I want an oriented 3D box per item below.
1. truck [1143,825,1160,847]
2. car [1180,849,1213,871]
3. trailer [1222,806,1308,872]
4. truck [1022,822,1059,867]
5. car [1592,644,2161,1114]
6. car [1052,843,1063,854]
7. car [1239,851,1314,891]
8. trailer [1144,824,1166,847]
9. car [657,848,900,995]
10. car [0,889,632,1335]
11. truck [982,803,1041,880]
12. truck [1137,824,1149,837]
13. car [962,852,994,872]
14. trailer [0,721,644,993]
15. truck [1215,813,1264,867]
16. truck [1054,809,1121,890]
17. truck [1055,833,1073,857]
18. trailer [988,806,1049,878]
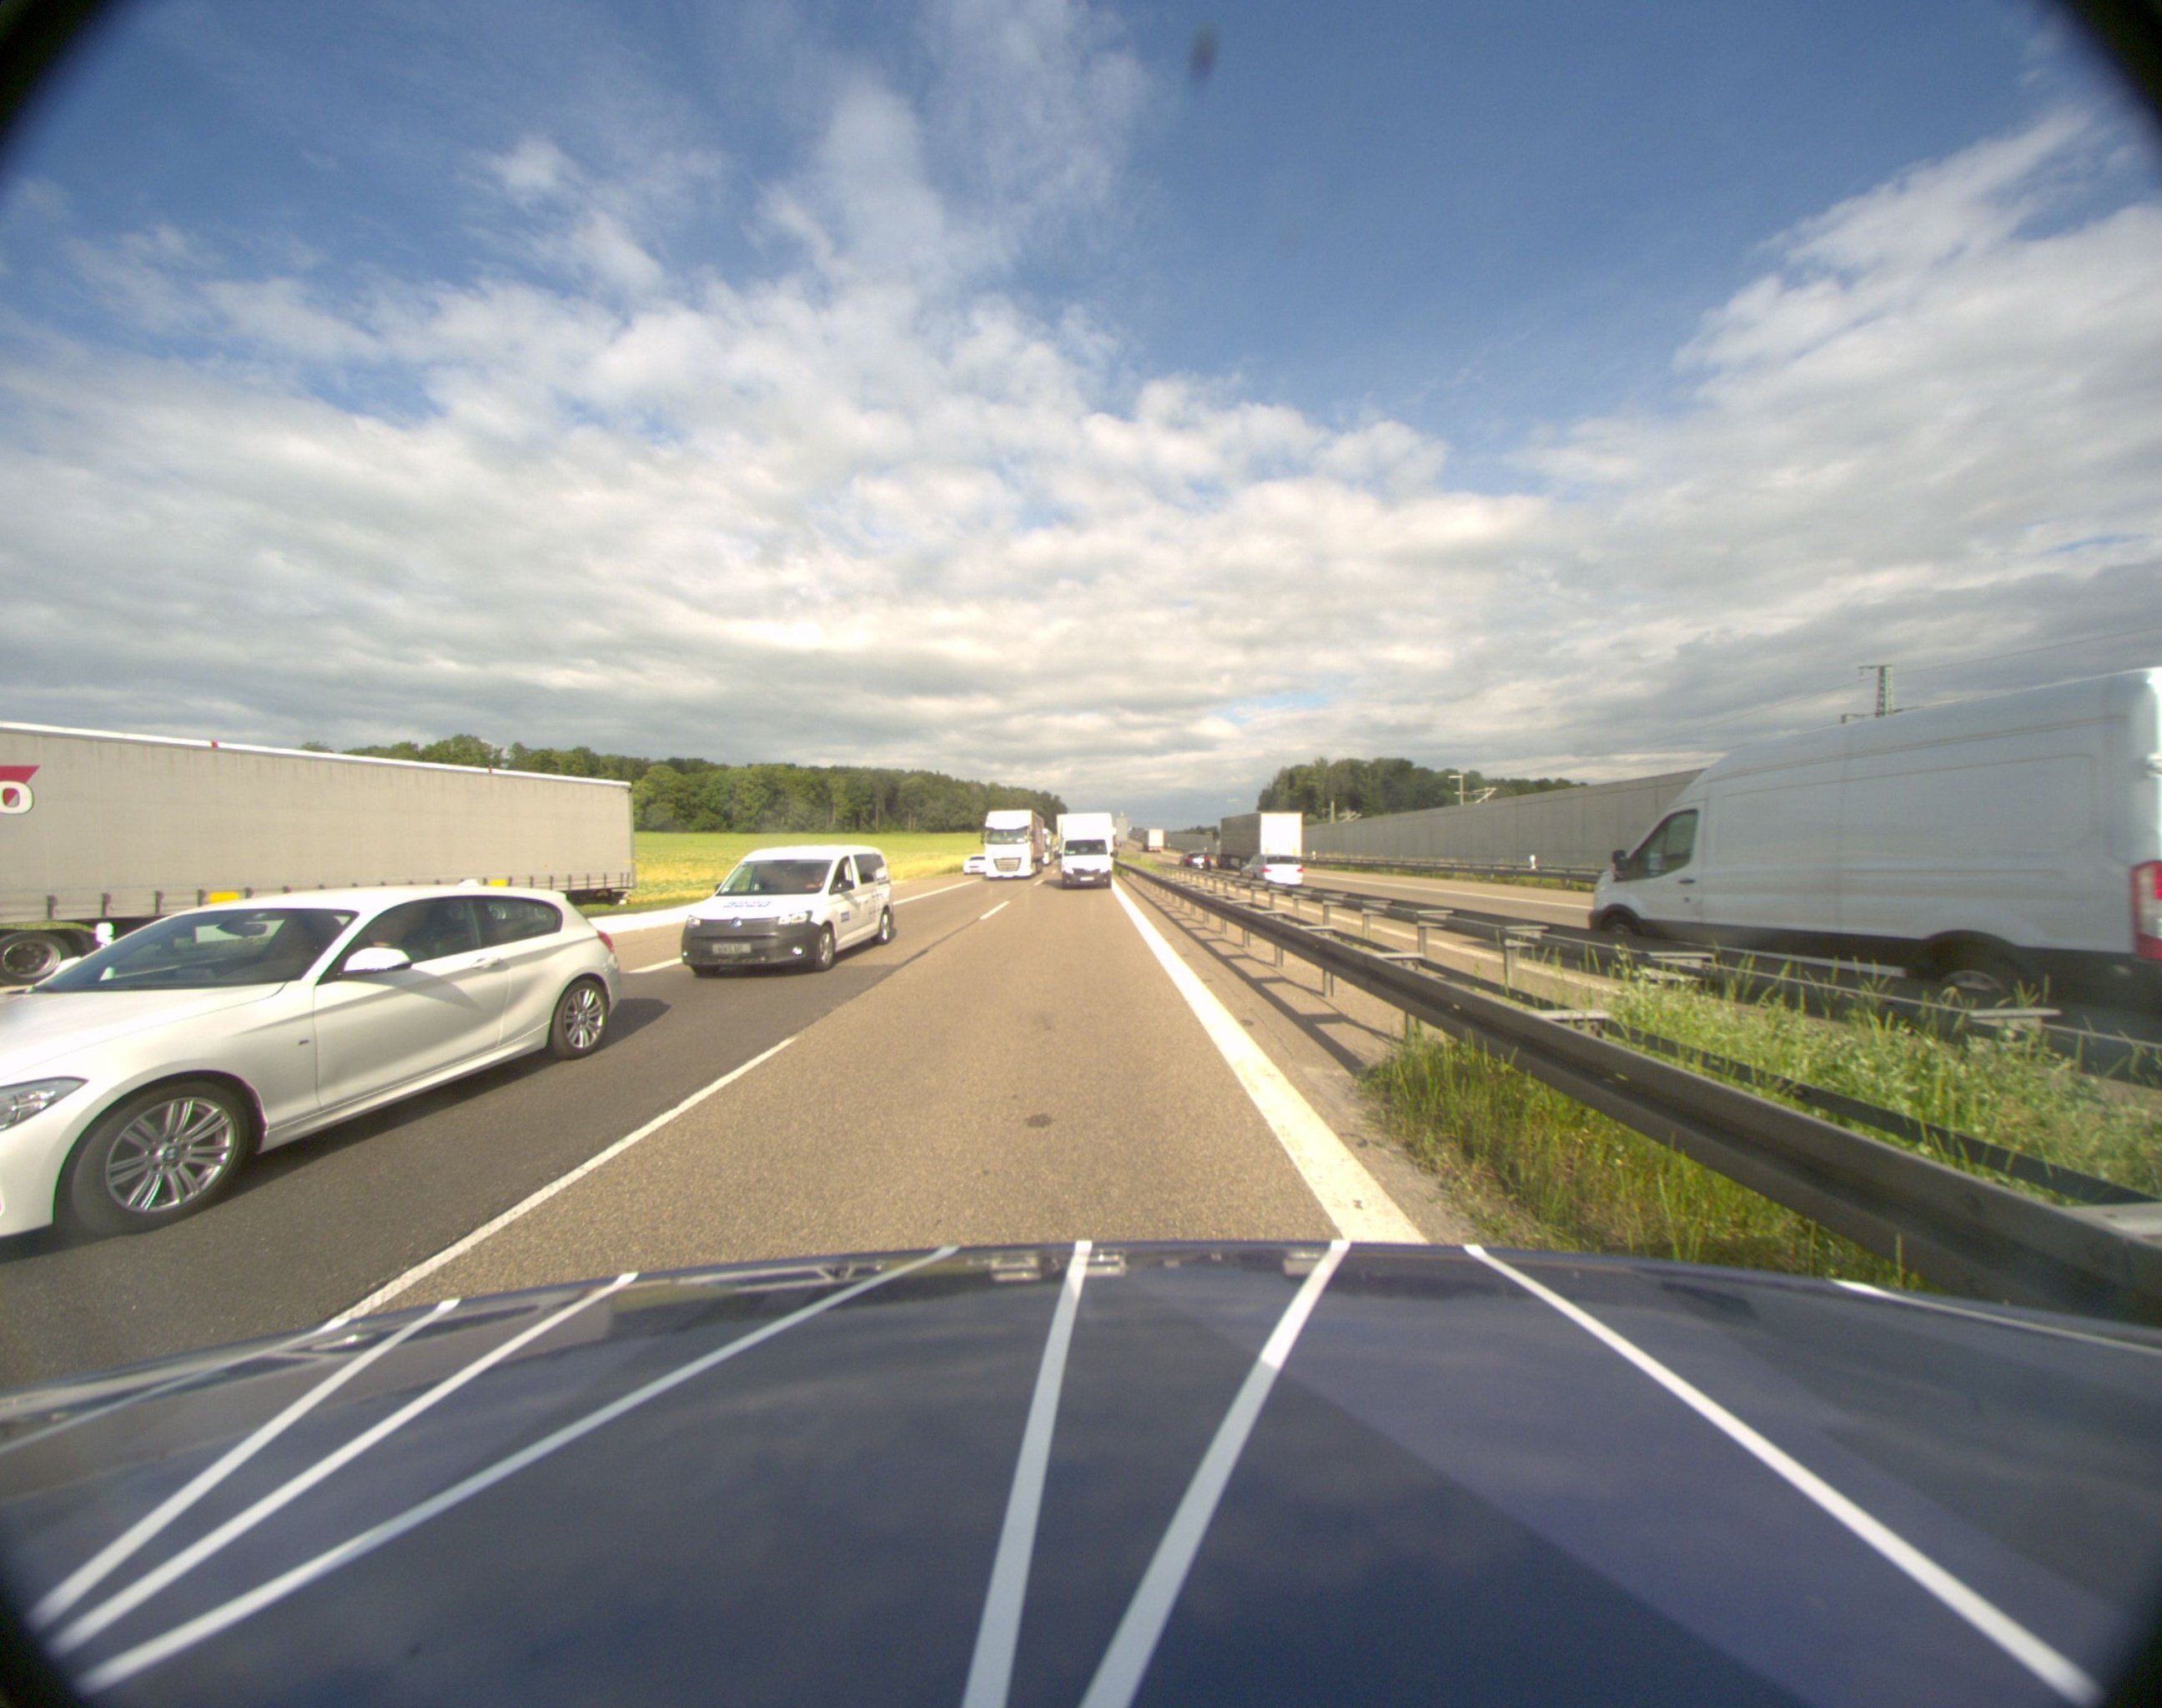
[{"bbox_3d":[13.757,-3.465,148.379,2.692,4.045,5.878,-1,1,1],"label":"truck"},{"bbox_3d":[8.070,0.387,53.400,1.656,1.443,3.955,-1,1,-1],"label":"car"},{"bbox_3d":[12.601,-1.009,53.634,2.797,4.054,13.518,0,1,0],"label":"trailer"},{"bbox_3d":[-3.972,-0.917,76.835,2.946,4.094,12.523,-1,1,0],"label":"truck"},{"bbox_3d":[7.615,0.121,6.933,2.109,2.854,5.636,-1,1,0],"label":"car"},{"bbox_3d":[-3.976,-0.981,128.747,1.707,1.746,4.676,-3,0,1],"label":"car"},{"bbox_3d":[7.586,0.612,29.898,1.878,1.443,4.232,-1,1,1],"label":"car"},{"bbox_3d":[13.724,-3.413,142.053,2.690,4.014,13.790,-1,0,0],"label":"trailer"},{"bbox_3d":[-4.285,0.816,11.712,1.729,1.746,4.702,-3,0,1],"label":"car"},{"bbox_3d":[-4.810,1.062,4.489,1.708,1.424,4.232,-2,0,1],"label":"car"},{"bbox_3d":[-3.961,-0.724,44.771,2.736,4.150,5.766,-2,1,0],"label":"truck"},{"bbox_3d":[20.554,-7.875,253.927,2.952,4.037,11.745,-2,1,0],"label":"truck"},{"bbox_3d":[-7.768,0.587,57.666,1.871,1.424,4.628,-2,0,-2],"label":"car"},{"bbox_3d":[-16.462,0.017,16.631,2.739,4.136,13.843,-2,0,15],"label":"trailer"},{"bbox_3d":[12.644,-1.091,60.998,2.783,4.064,5.531,1,1,0],"label":"truck"},{"bbox_3d":[0.276,-0.216,35.698,2.500,3.082,12.037,-2,0,0],"label":"truck"},{"bbox_3d":[-3.135,-1.686,142.222,2.946,4.094,16.207,-1,0,0],"label":"truck"},{"bbox_3d":[-3.922,-0.844,51.215,2.742,4.137,14.016,-2,1,0],"label":"trailer"}]
